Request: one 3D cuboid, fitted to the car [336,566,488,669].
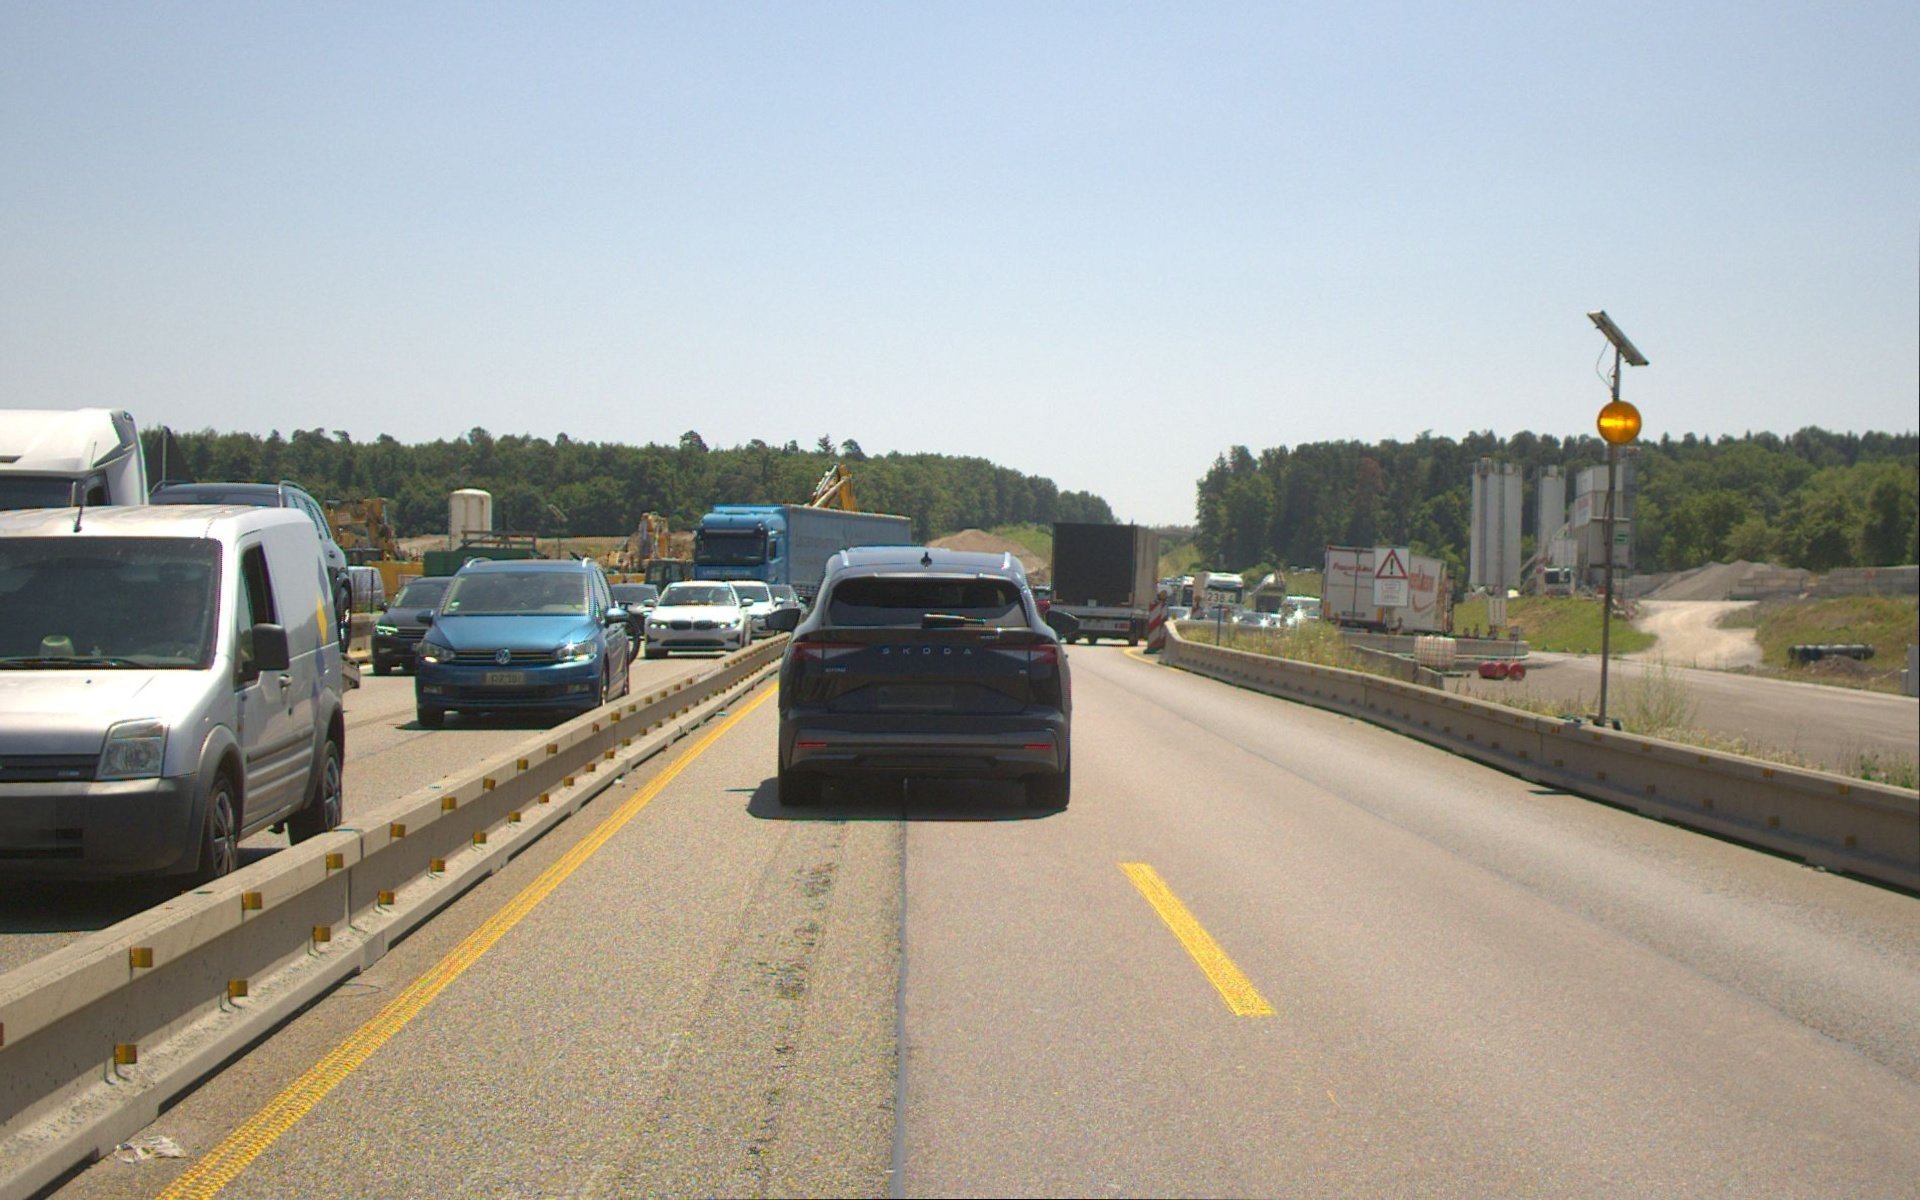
[{"bbox_3d":[-8.194,0.227,51.712,1.687,1.447,4.336,0,1,-1],"label":"car"}]

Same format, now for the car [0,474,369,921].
[{"bbox_3d":[-4.100,0.338,16.423,1.853,1.833,4.591,0,2,-1],"label":"car"}]

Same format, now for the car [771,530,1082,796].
[{"bbox_3d":[-0.204,0.414,22.441,1.842,1.576,4.000,0,-1,0],"label":"car"}]

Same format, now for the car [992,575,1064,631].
[{"bbox_3d":[2.140,0.092,107.056,1.821,1.638,3.864,3,0,7],"label":"car"}]

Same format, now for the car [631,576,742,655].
[{"bbox_3d":[-5.070,0.261,64.125,1.816,1.371,4.248,0,1,-1],"label":"car"}]

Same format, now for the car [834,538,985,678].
[{"bbox_3d":[-0.762,0.094,49.095,1.993,1.837,4.000,2,0,-2],"label":"car"}]

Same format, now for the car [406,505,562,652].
[{"bbox_3d":[-8.128,-0.390,59.265,1.914,2.391,6.453,0,1,-1],"label":"car"}]

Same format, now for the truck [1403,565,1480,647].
[{"bbox_3d":[27.535,0.347,196.255,3.477,4.206,10.371,6,1,11],"label":"truck"}]

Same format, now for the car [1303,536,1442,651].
[{"bbox_3d":[16.352,-0.178,135.607,3.440,4.087,9.188,5,1,18],"label":"car"}]

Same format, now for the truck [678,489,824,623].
[{"bbox_3d":[-6.611,-1.356,109.627,2.916,4.115,6.134,1,0,13],"label":"truck"}]

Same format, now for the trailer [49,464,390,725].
[{"bbox_3d":[-7.065,-0.101,33.439,2.181,2.306,5.614,1,1,-1],"label":"trailer"}]

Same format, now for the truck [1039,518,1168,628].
[{"bbox_3d":[4.027,-0.785,95.264,2.674,2.935,5.618,1,1,12],"label":"truck"}]

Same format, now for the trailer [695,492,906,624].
[{"bbox_3d":[-5.164,-1.304,115.556,2.916,4.115,13.906,1,0,15],"label":"trailer"}]

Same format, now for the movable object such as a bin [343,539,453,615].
[{"bbox_3d":[-22.426,-0.919,137.219,2.871,2.718,3.361,3,1,-40],"label":"movable object such as a bin"}]

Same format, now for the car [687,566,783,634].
[{"bbox_3d":[-5.212,-0.017,80.140,2.016,1.439,4.588,0,2,-1],"label":"car"}]

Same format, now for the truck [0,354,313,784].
[{"bbox_3d":[-6.975,-0.249,26.563,2.480,2.814,8.129,0,1,-1],"label":"truck"}]

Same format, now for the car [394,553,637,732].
[{"bbox_3d":[-4.338,0.371,34.084,1.904,1.603,4.000,1,1,-1],"label":"car"}]
